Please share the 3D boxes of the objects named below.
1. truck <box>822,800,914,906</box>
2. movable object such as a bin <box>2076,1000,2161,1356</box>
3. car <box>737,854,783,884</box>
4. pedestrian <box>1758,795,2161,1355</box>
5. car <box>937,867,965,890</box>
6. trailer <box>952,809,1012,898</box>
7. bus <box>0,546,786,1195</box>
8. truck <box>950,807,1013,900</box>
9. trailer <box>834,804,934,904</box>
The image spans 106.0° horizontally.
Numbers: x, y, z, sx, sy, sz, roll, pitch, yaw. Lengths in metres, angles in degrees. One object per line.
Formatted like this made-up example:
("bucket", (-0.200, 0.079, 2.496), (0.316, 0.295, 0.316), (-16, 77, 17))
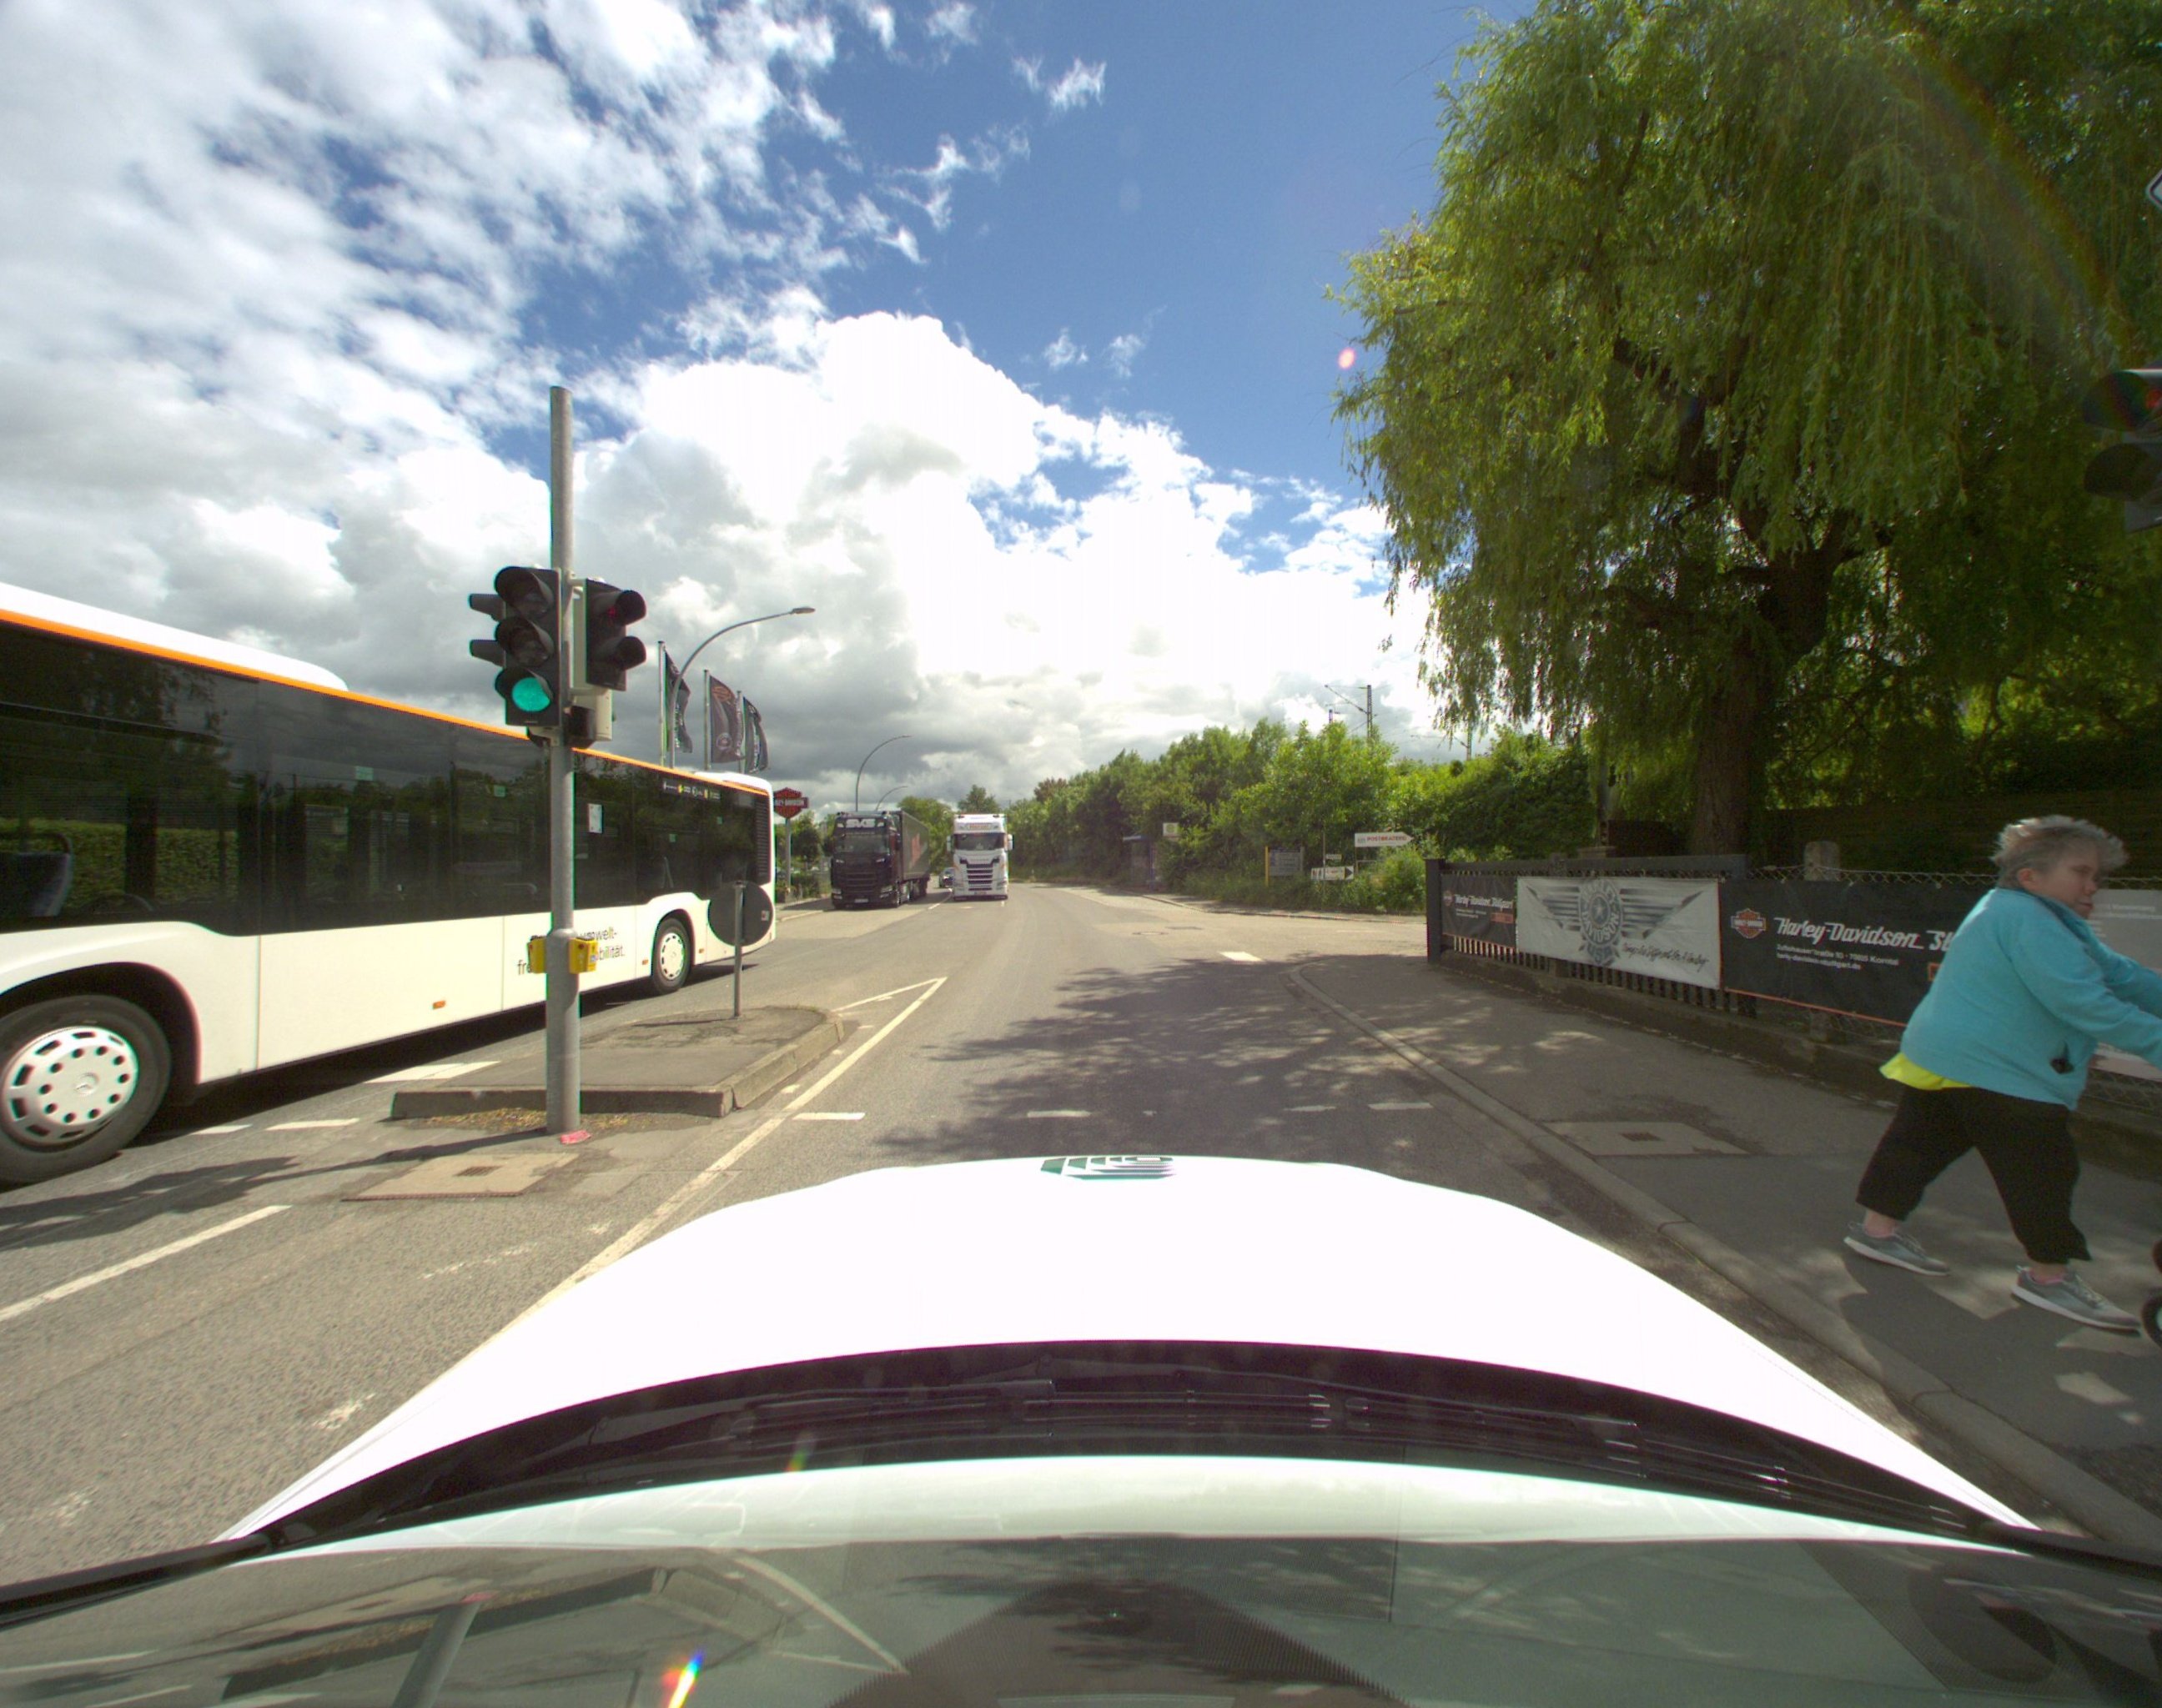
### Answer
("truck", (-8.842, 0.019, 34.563), (2.795, 4.053, 6.487), (0, -1, -6))
("movable object such as a bin", (3.366, 0.929, 2.233), (0.673, 0.871, 0.740), (-2, 0, -35))
("car", (-15.142, 0.724, 38.556), (1.040, 1.364, 2.688), (0, -1, 2))
("pedestrian", (3.003, 0.607, 2.801), (0.737, 1.543, 0.832), (-1, -1, -34))
("car", (-9.908, 1.841, 61.714), (1.994, 1.706, 3.985), (0, -1, -11))
("trailer", (-5.759, 0.130, 45.769), (2.770, 4.145, 15.303), (0, -1, -8))
("bus", (-6.365, 0.170, 7.476), (2.710, 3.031, 12.264), (-1, -1, 0))
("truck", (-4.795, 0.027, 38.801), (2.770, 4.119, 4.971), (0, -1, -9))
("trailer", (-9.447, 0.139, 41.086), (2.795, 4.053, 15.523), (0, -1, -6))
